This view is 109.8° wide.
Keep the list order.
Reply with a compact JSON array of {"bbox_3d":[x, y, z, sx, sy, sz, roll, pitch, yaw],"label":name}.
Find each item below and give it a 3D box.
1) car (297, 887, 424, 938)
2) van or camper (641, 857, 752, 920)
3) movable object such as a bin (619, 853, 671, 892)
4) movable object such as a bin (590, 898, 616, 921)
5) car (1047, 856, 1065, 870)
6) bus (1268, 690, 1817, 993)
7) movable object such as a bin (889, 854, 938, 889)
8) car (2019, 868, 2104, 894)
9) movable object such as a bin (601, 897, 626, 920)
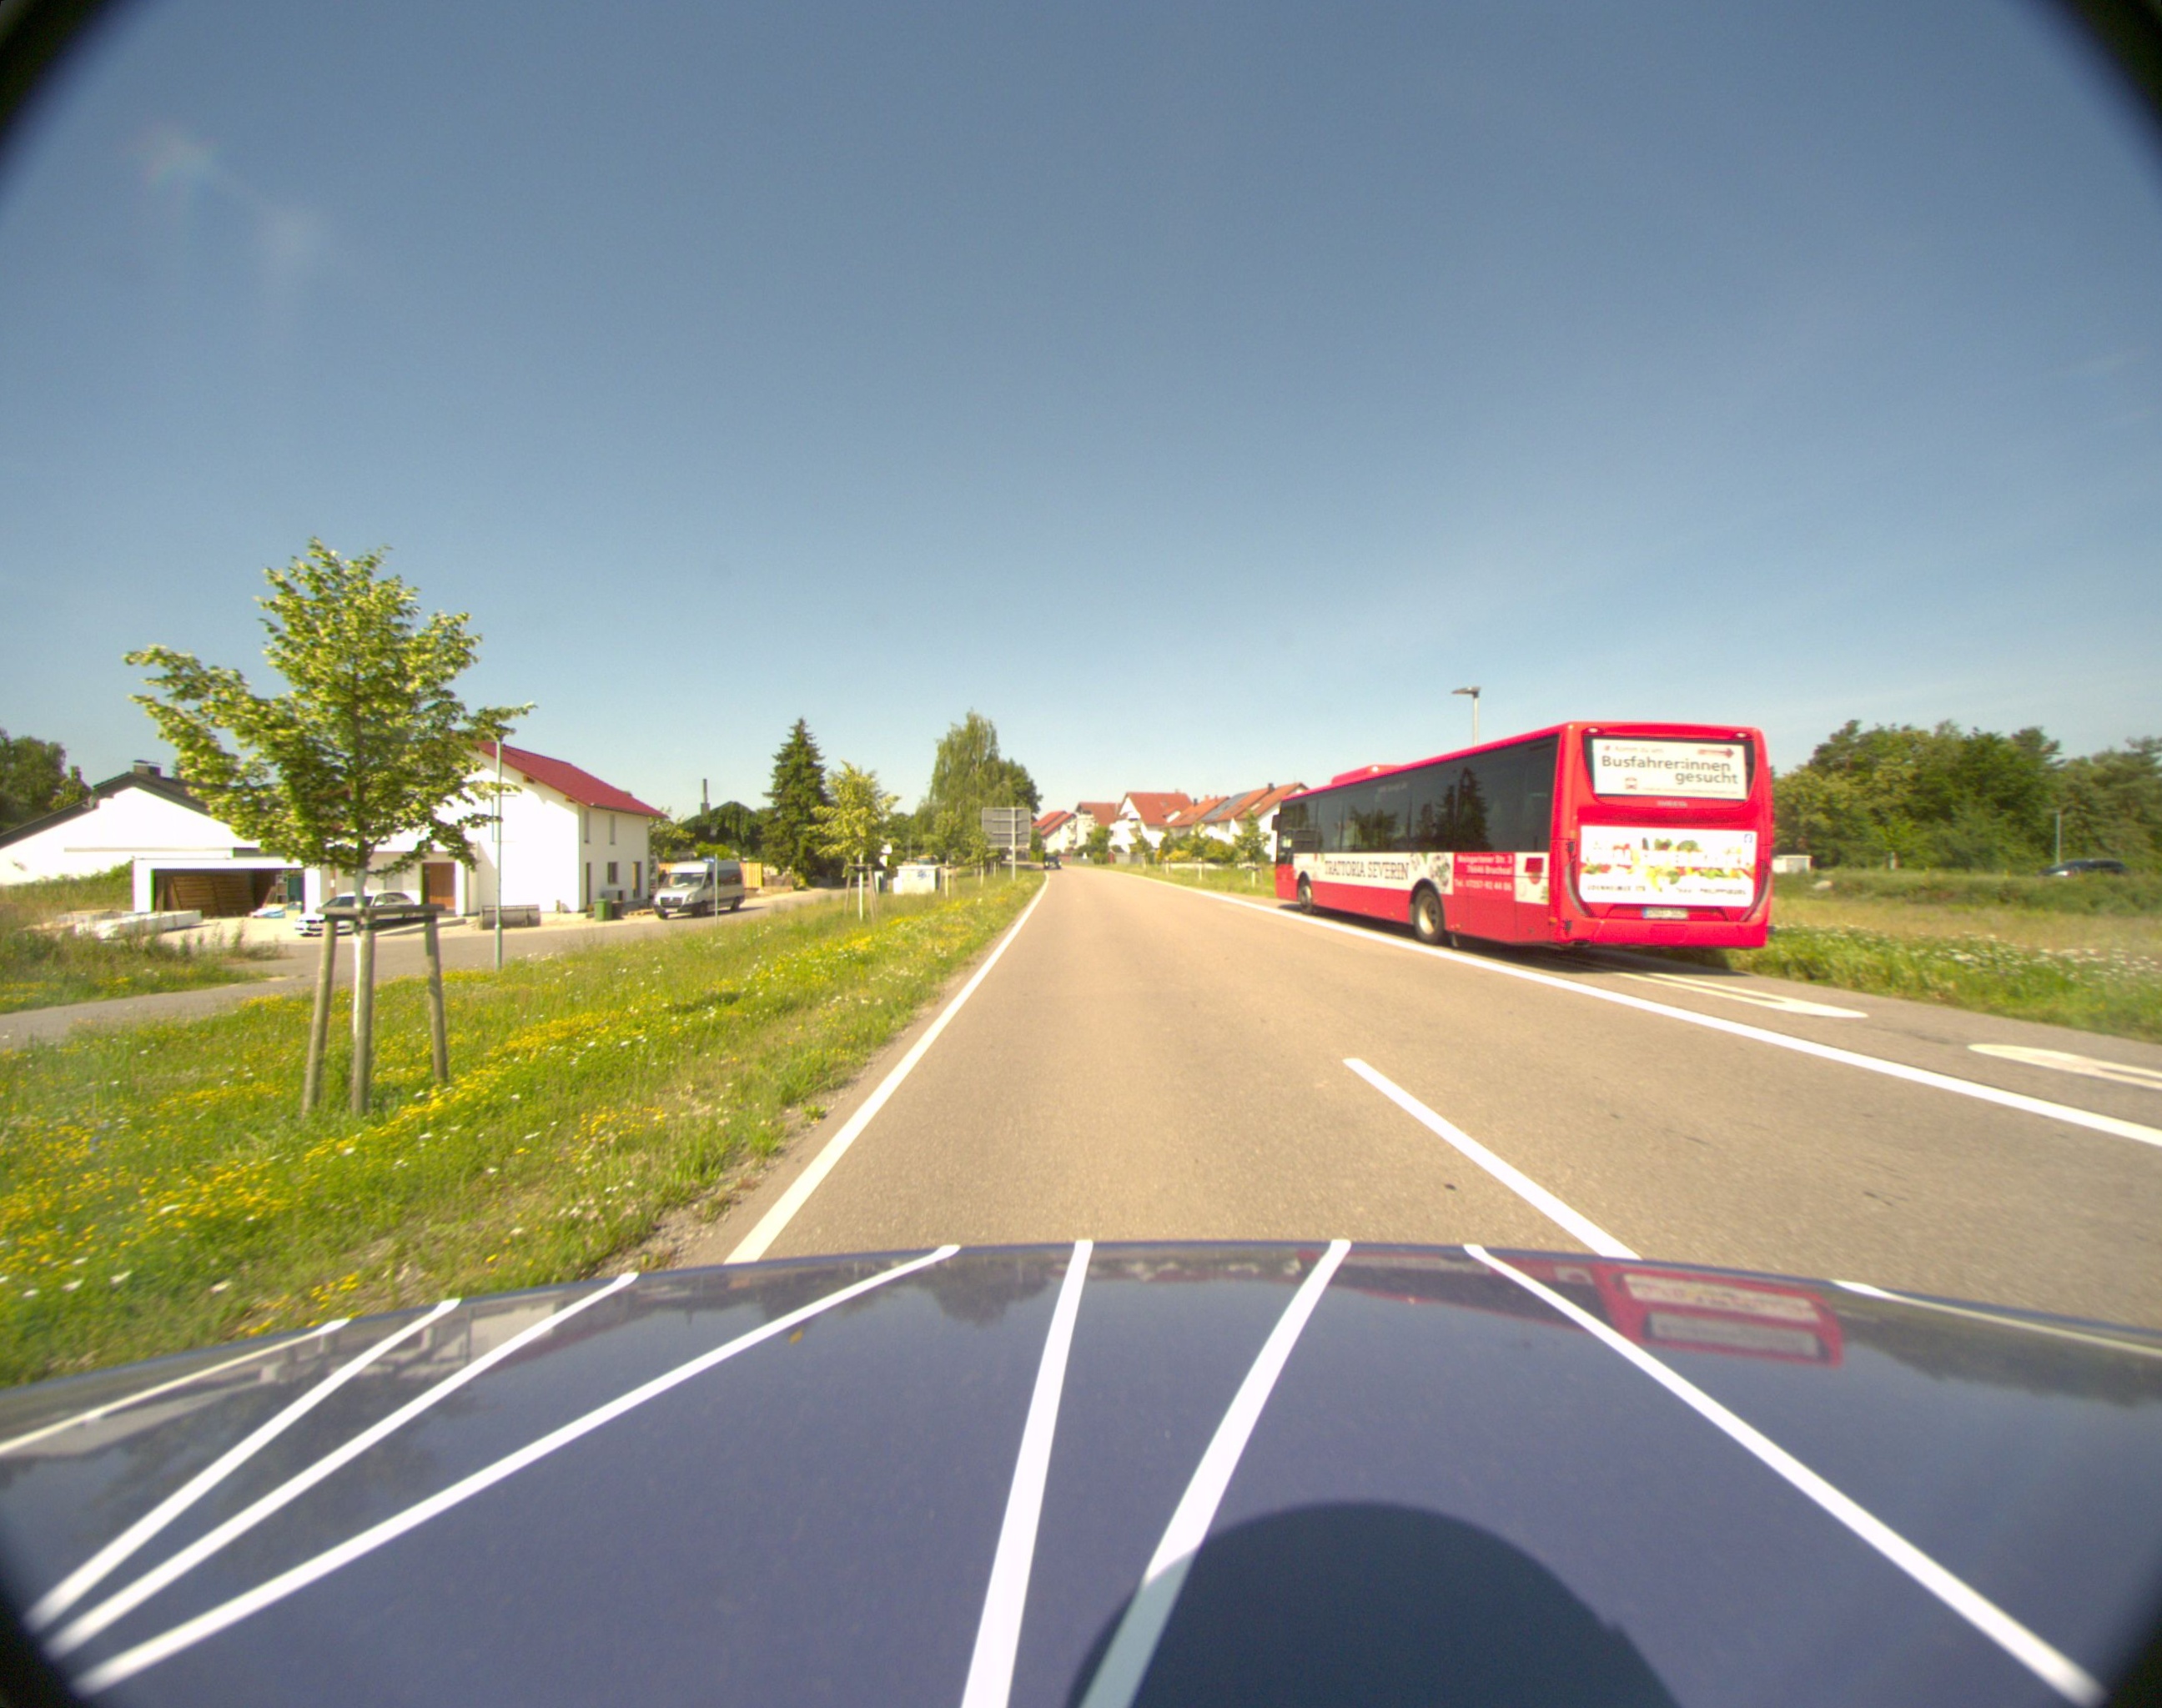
[{"bbox_3d":[-27.499,2.163,29.203,1.564,1.549,4.481,-3,1,-16],"label":"car"},{"bbox_3d":[-18.070,1.514,36.138,2.178,2.586,6.029,-1,1,-1],"label":"van or camper"},{"bbox_3d":[-29.913,1.270,52.100,2.884,2.542,1.782,-1,0,-35],"label":"movable object such as a bin"},{"bbox_3d":[-20.746,2.416,32.973,0.694,0.932,0.639,-1,0,3],"label":"movable object such as a bin"},{"bbox_3d":[-3.034,1.045,91.483,1.934,1.552,3.998,1,0,-4],"label":"car"},{"bbox_3d":[6.624,-0.105,14.526,2.801,3.267,12.228,2,0,-1],"label":"bus"},{"bbox_3d":[-12.928,1.281,59.239,2.322,2.449,6.944,-1,1,-1],"label":"movable object such as a bin"},{"bbox_3d":[62.769,1.716,48.670,3.554,1.527,1.512,1,1,-1],"label":"car"},{"bbox_3d":[-20.708,2.407,33.665,0.694,0.932,0.639,-1,0,3],"label":"movable object such as a bin"}]
